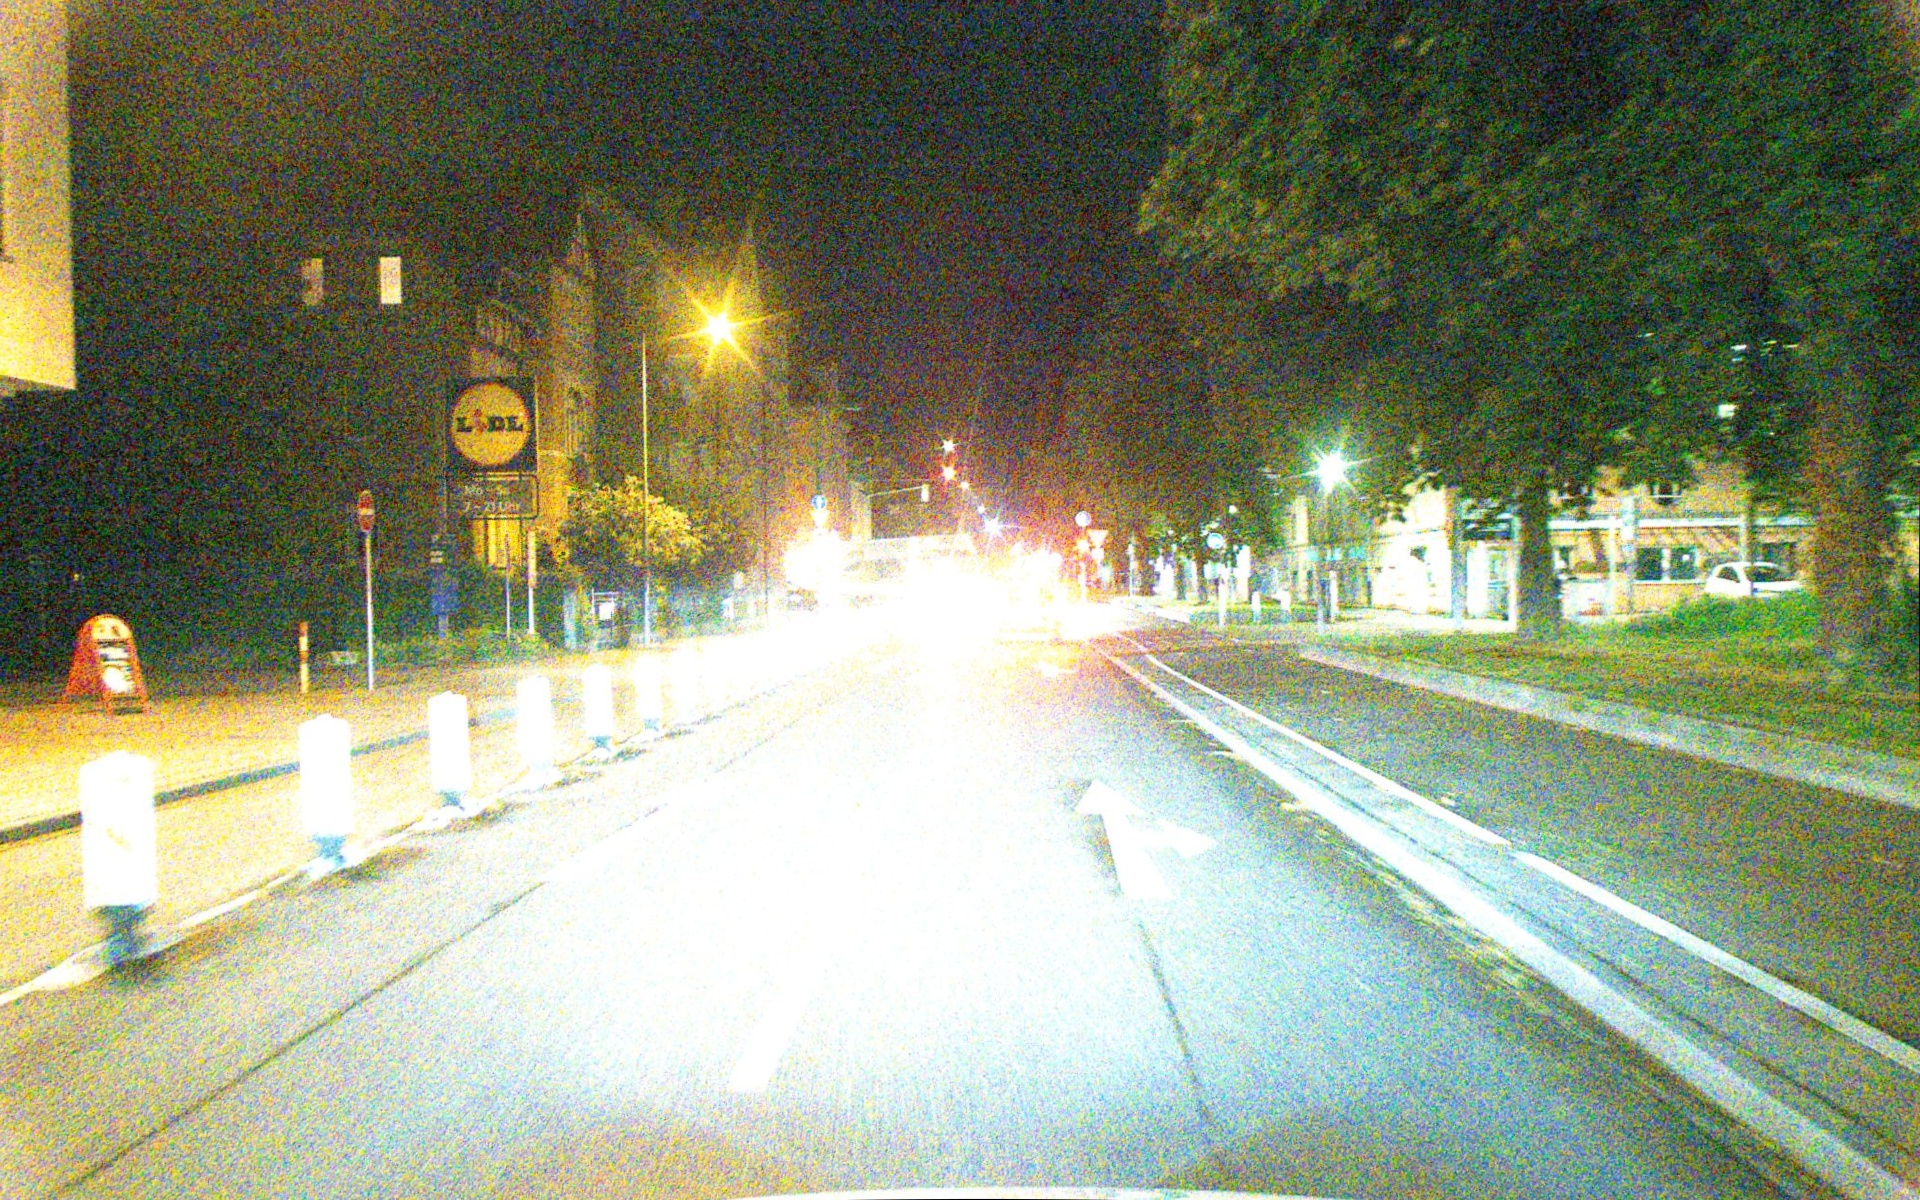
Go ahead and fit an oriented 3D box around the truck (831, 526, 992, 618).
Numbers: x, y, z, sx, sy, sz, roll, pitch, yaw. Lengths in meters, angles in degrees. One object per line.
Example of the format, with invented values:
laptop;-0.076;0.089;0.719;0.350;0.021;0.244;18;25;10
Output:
truck;-2.365;-1.160;74.522;2.727;3.782;10.009;-3;1;-30

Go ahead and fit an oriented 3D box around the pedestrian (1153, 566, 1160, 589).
pedestrian;18.025;-2.083;151.727;0.477;2.049;0.551;-2;0;1

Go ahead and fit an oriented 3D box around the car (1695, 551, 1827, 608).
car;23.504;-0.606;48.692;1.746;1.560;3.998;-2;1;-3

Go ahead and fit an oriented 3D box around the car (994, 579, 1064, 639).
car;1.855;0.199;44.678;1.767;1.520;4.731;1;1;2

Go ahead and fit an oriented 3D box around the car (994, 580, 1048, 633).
car;1.840;0.167;50.704;1.603;1.520;4.001;0;1;1

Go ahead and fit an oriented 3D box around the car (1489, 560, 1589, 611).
car;17.332;-0.447;49.675;1.481;1.419;4.482;-2;1;1

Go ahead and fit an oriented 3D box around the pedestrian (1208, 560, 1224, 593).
pedestrian;14.266;-1.317;92.064;0.699;1.799;0.907;-2;1;1

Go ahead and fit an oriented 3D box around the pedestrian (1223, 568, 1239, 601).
pedestrian;15.074;-0.870;92.061;0.723;1.799;0.907;-2;1;1

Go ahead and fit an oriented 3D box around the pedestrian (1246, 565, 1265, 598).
pedestrian;16.443;-1.033;92.067;0.882;1.799;0.907;-2;1;1

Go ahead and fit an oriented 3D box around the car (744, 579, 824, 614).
car;-8.815;-0.163;82.610;3.911;1.668;1.997;-1;0;-8
